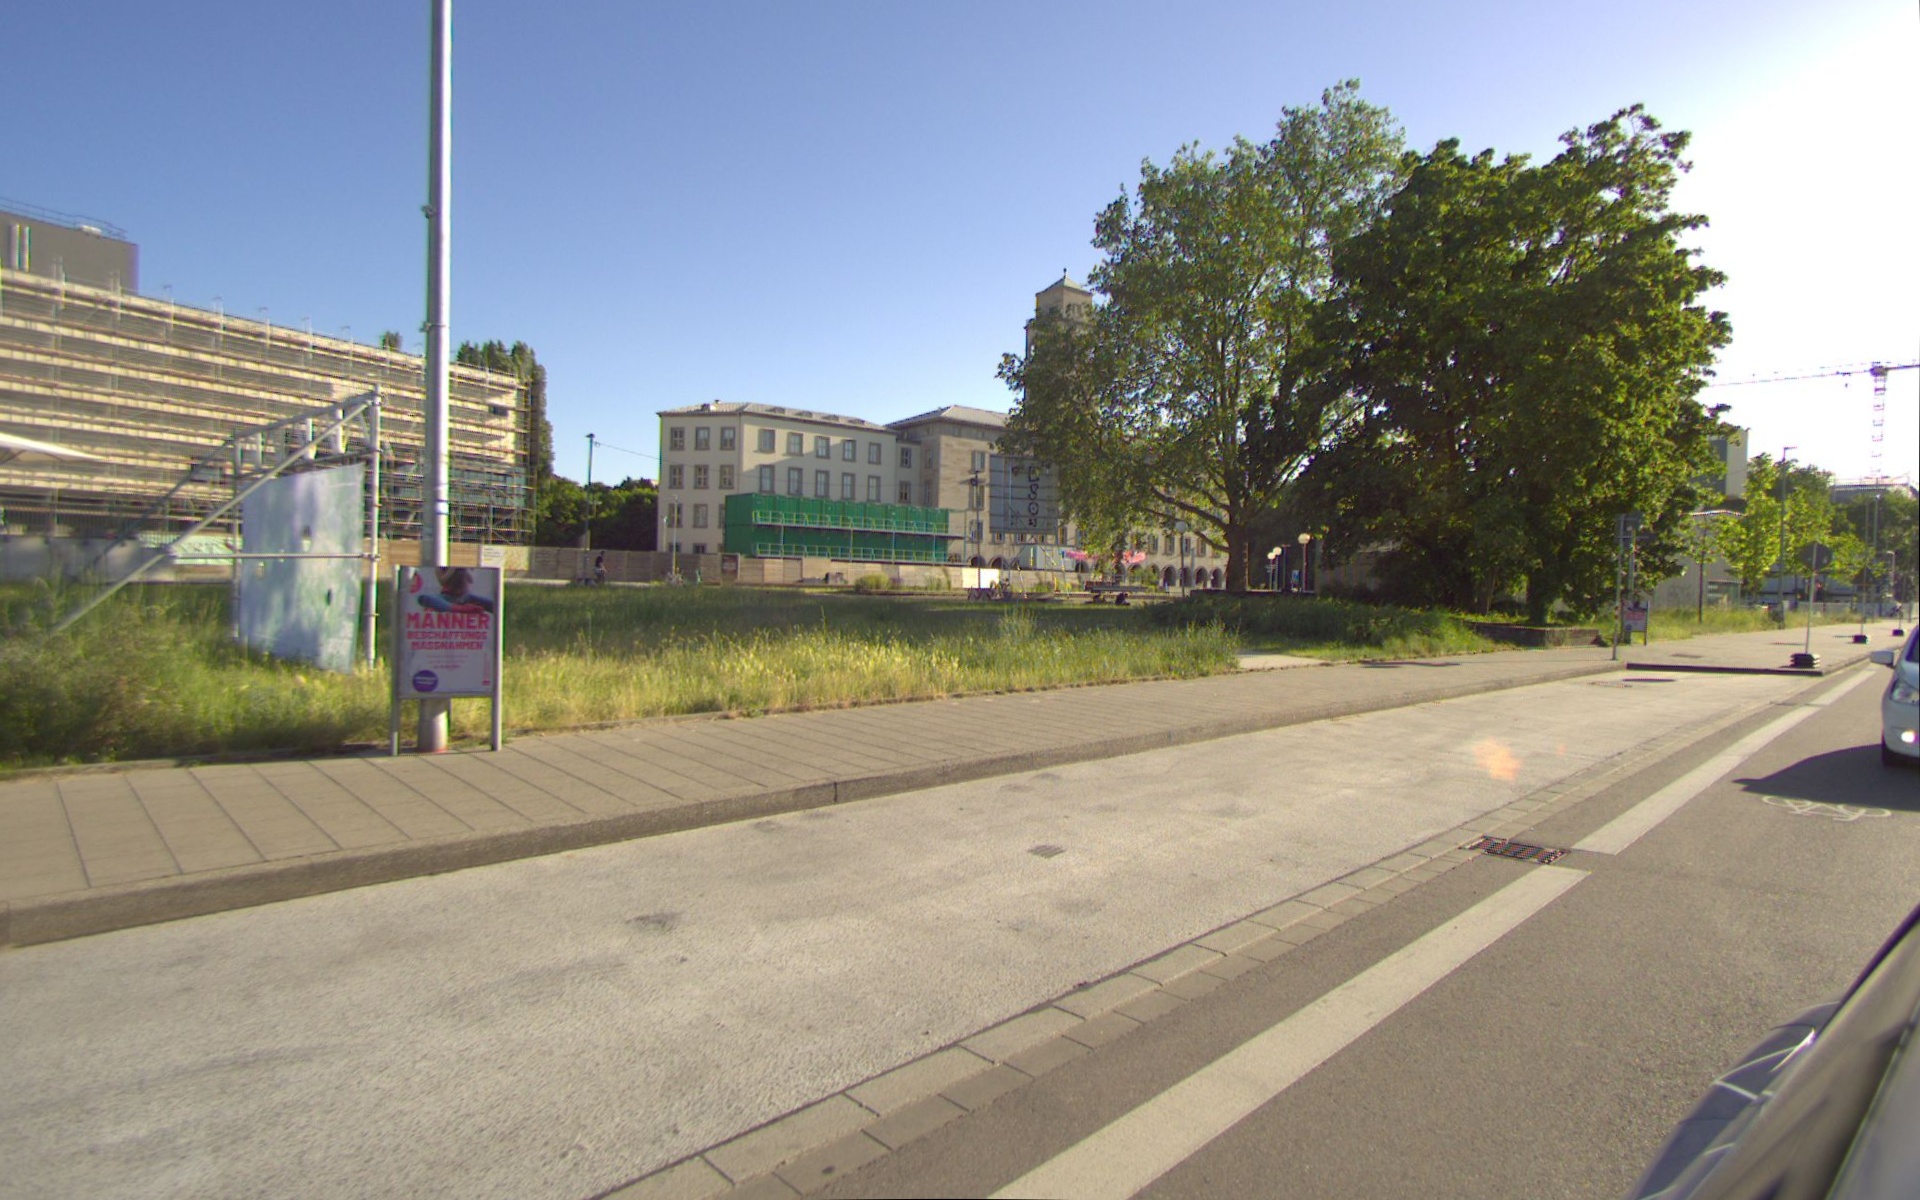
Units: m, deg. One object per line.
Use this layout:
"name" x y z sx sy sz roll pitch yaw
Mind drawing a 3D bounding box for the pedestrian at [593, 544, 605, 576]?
"pedestrian" -14.869 -1.646 41.671 0.432 1.312 0.574 -1 0 -23

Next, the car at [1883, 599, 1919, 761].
"car" 10.566 0.740 10.267 1.611 1.516 3.339 -1 -1 45
